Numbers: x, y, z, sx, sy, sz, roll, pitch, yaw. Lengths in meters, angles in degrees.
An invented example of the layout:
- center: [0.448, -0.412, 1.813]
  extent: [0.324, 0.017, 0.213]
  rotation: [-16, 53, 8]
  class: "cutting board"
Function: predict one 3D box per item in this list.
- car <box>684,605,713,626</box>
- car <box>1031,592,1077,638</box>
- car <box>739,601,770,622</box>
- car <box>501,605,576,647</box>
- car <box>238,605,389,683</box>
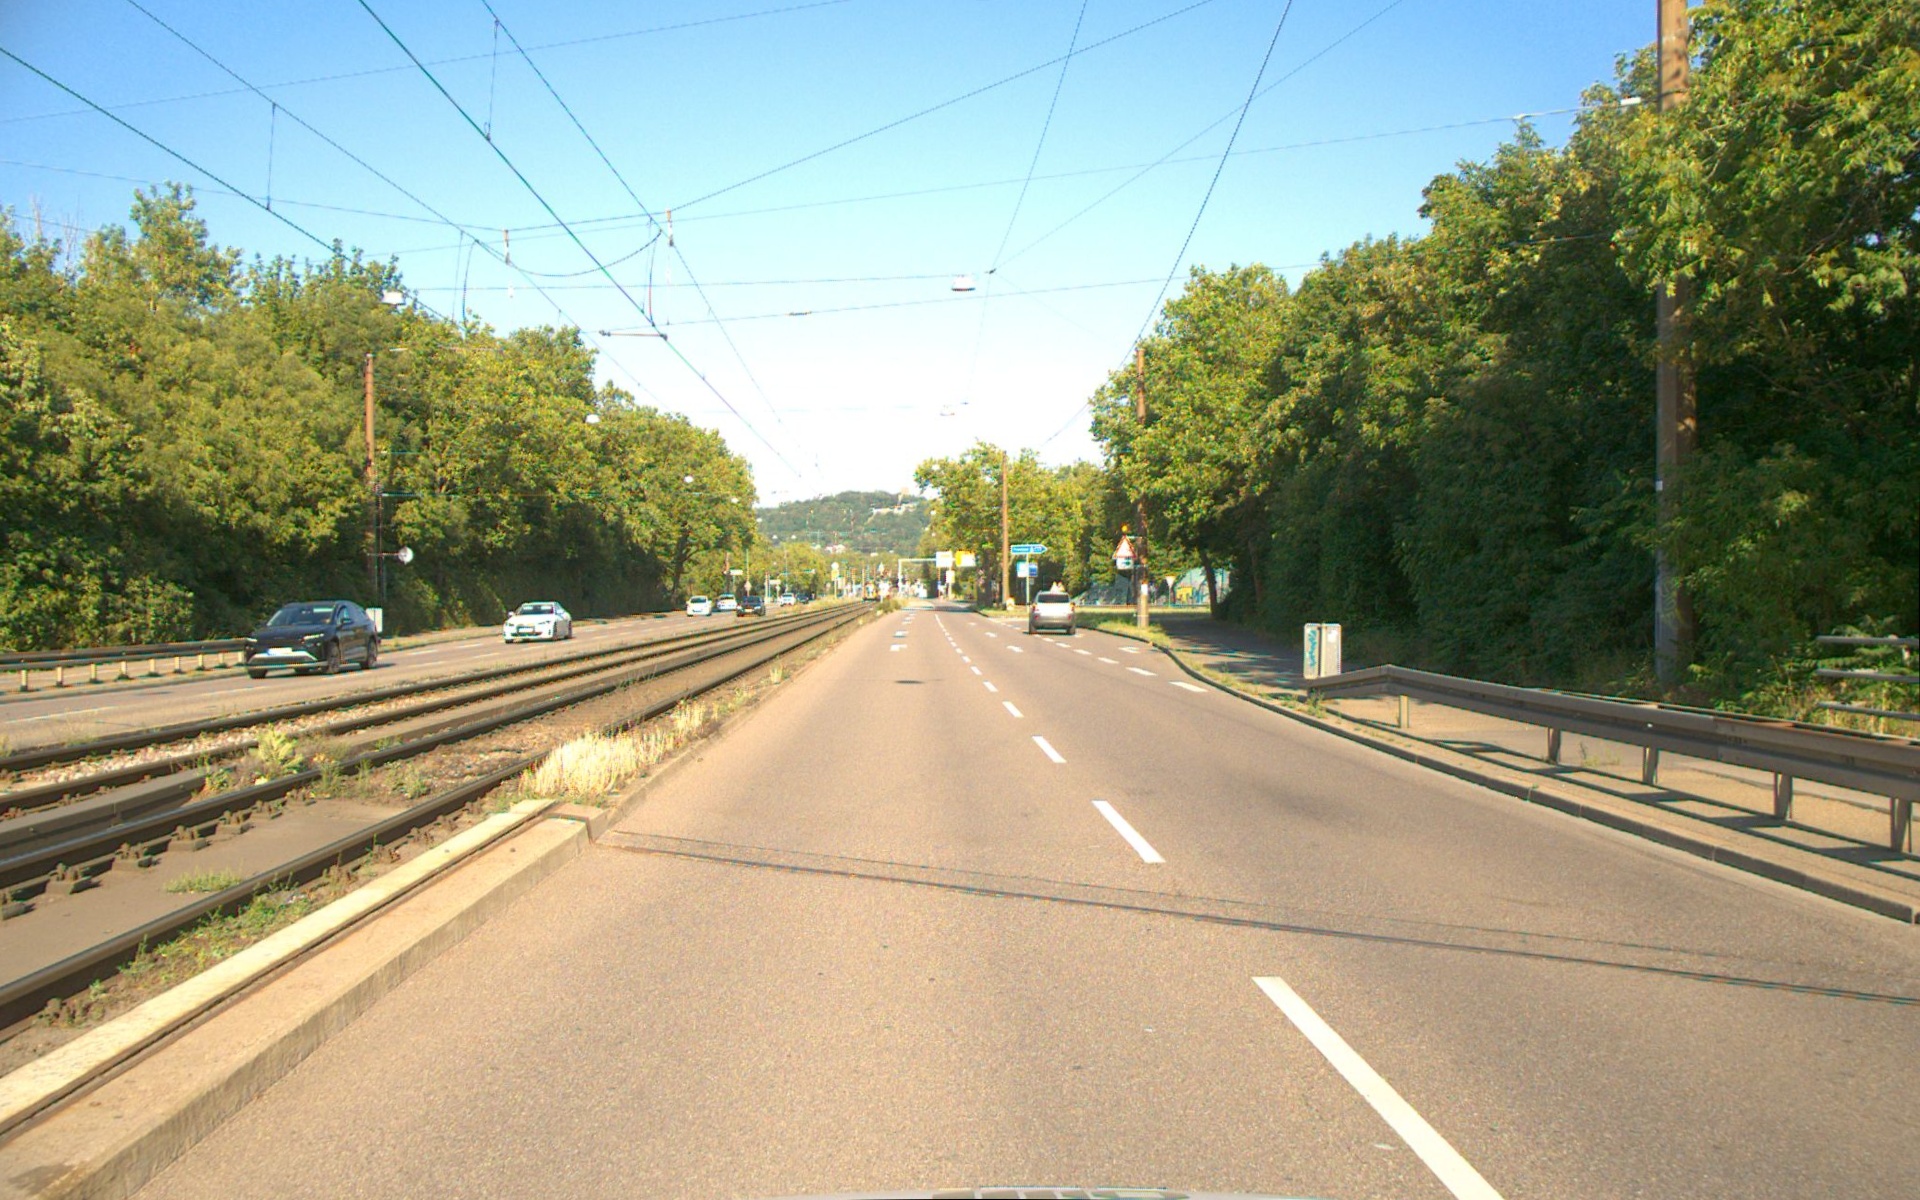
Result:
- center: [-21.056, 1.259, 133.355]
  extent: [1.657, 1.583, 4.190]
  rotation: [-2, 0, -1]
  class: "car"
- center: [3.778, 0.594, 66.793]
  extent: [1.771, 1.804, 3.864]
  rotation: [1, 0, 3]
  class: "car"
- center: [-14.773, 0.807, 119.018]
  extent: [1.624, 1.457, 4.500]
  rotation: [-2, 0, -1]
  class: "car"
- center: [-15.684, 0.944, 61.704]
  extent: [1.720, 1.439, 4.874]
  rotation: [-3, 0, -3]
  class: "car"
- center: [-14.526, 0.930, 37.451]
  extent: [1.675, 1.608, 4.798]
  rotation: [-1, 0, -3]
  class: "car"
